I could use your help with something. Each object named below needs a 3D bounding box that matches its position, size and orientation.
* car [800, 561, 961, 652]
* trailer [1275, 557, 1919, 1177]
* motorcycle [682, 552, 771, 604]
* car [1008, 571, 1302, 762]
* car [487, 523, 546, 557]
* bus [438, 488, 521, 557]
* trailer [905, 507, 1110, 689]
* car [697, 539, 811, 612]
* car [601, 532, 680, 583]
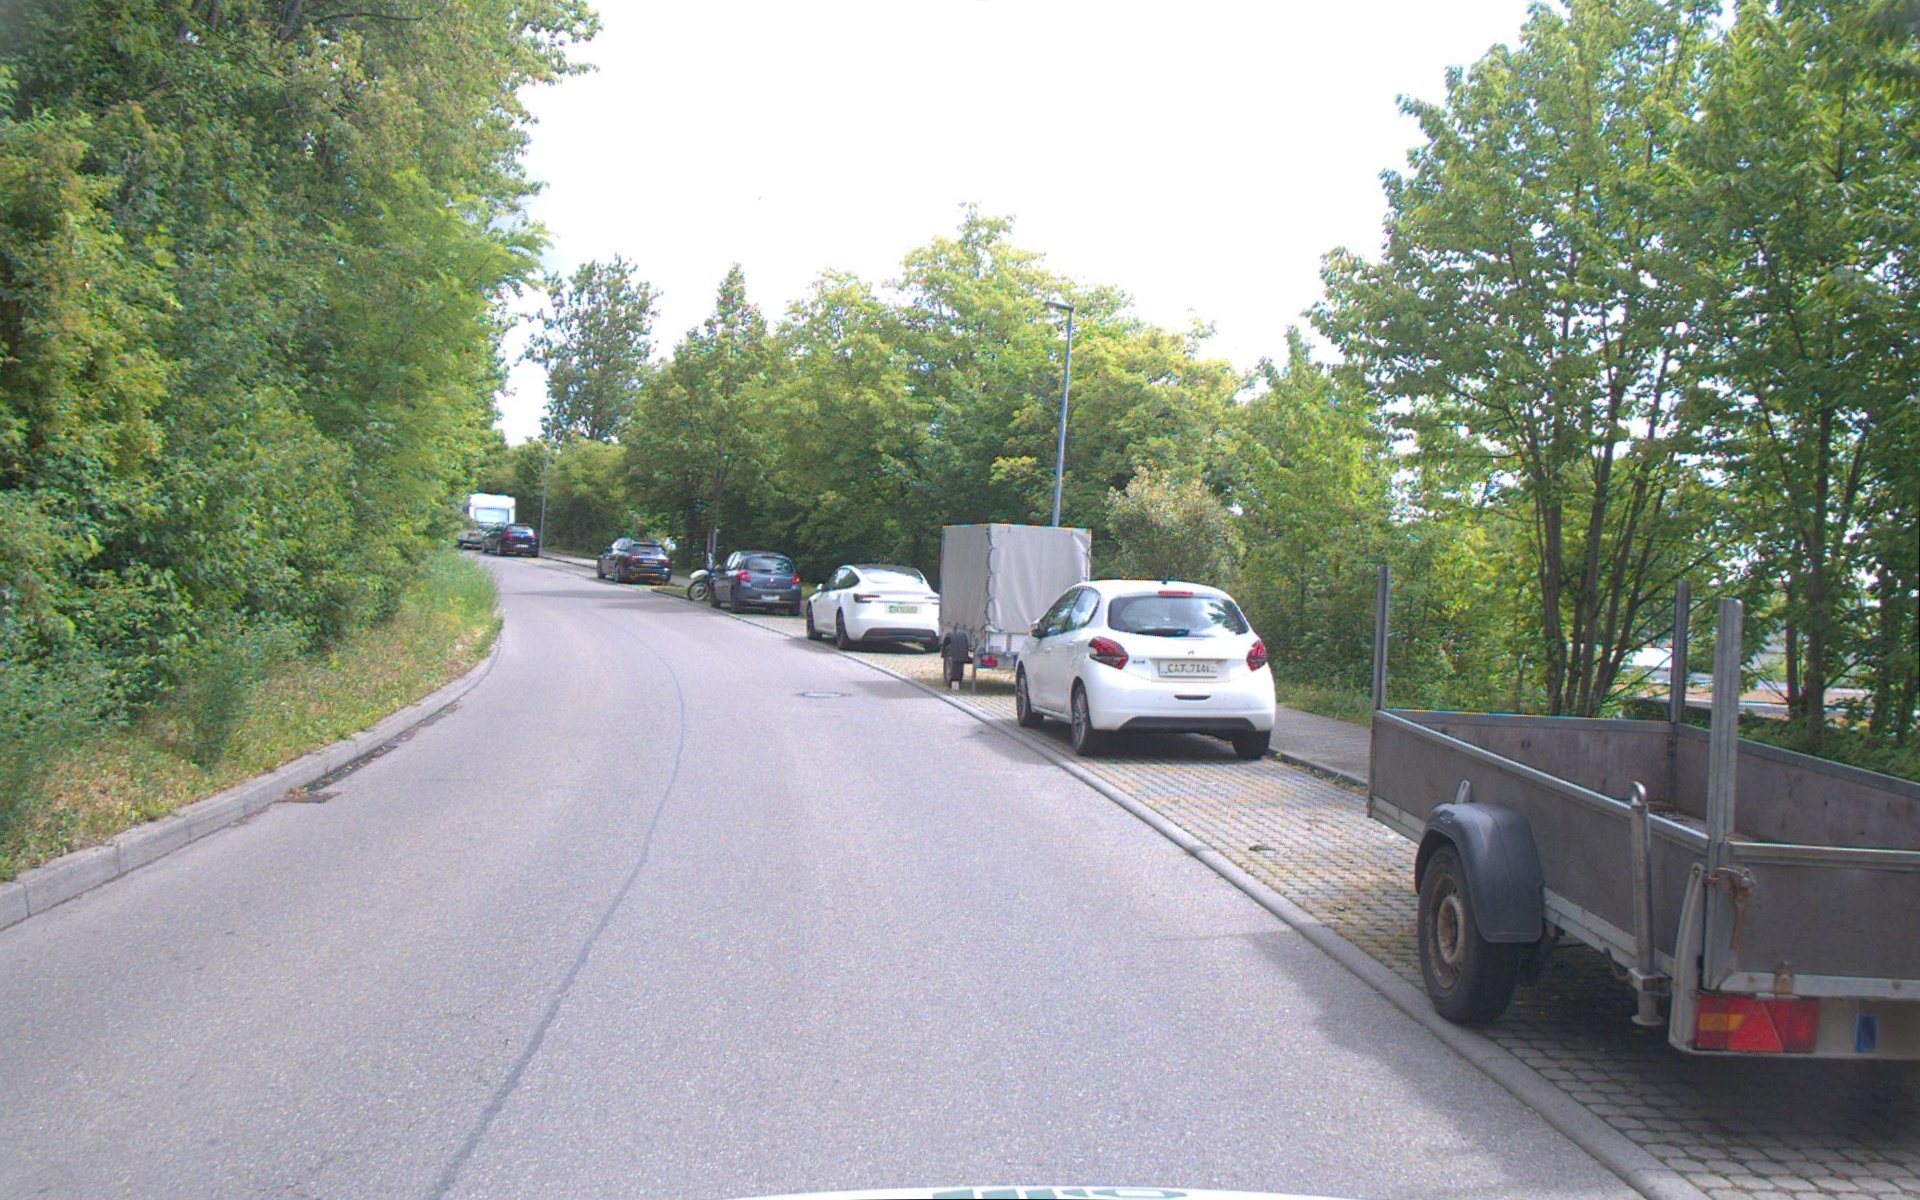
[{"bbox_3d":[-1.525,0.067,29.841,1.856,1.400,4.331,2,1,-17],"label":"car"},{"bbox_3d":[2.558,0.649,6.200,1.749,1.552,3.998,2,1,-3],"label":"trailer"},{"bbox_3d":[-6.296,-0.615,44.690,2.122,1.288,1.070,2,3,18],"label":"motorcycle"},{"bbox_3d":[1.653,0.512,15.407,1.736,1.436,3.994,2,2,-8],"label":"car"},{"bbox_3d":[-19.500,-2.663,72.596,1.818,1.355,3.969,1,2,-25],"label":"car"},{"bbox_3d":[-22.631,-3.677,77.753,2.509,2.737,5.198,6,1,-28],"label":"bus"},{"bbox_3d":[0.515,-0.068,21.820,1.710,2.148,3.987,1,1,-13],"label":"trailer"},{"bbox_3d":[-5.217,-0.667,41.491,1.859,1.716,4.325,-1,2,-21],"label":"car"},{"bbox_3d":[-10.768,-1.445,55.549,1.816,1.542,3.973,2,2,-23],"label":"car"}]
